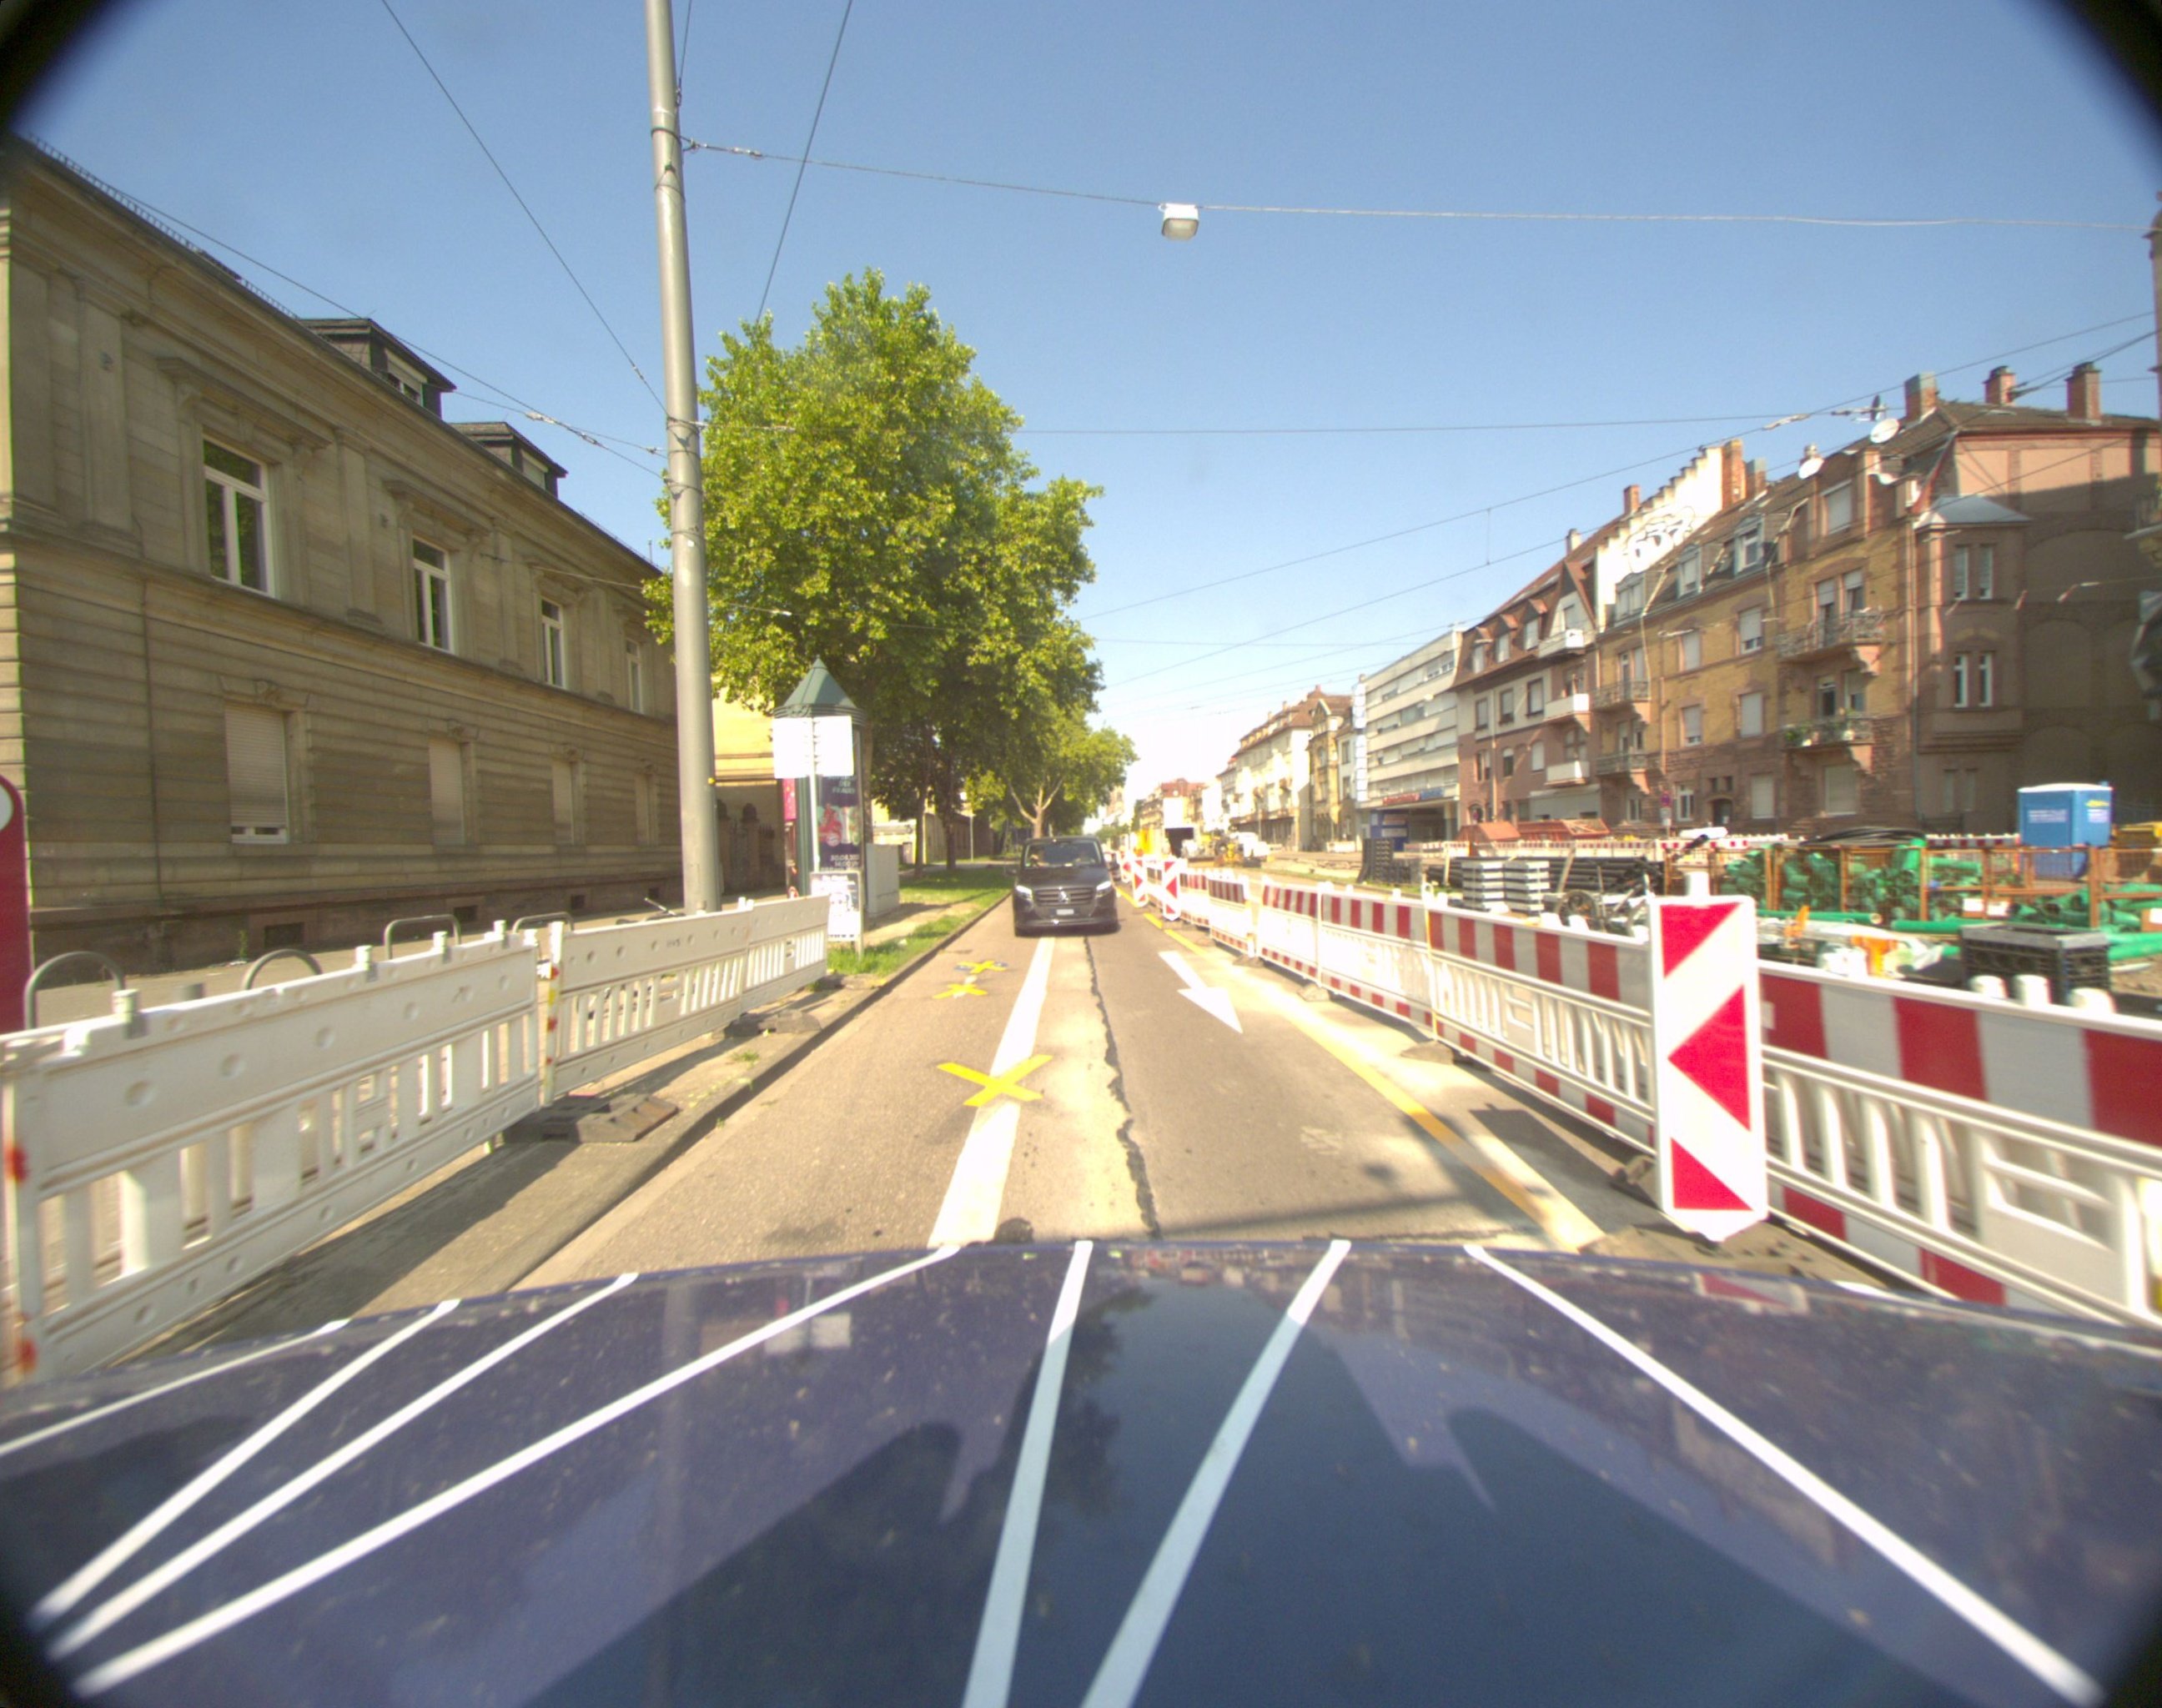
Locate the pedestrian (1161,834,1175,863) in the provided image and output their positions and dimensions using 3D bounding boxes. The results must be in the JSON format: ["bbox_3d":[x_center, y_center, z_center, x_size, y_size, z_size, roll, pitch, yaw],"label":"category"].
[{"bbox_3d":[5.479,-0.343,47.822,0.803,1.787,0.596,0,2,8],"label":"pedestrian"}]

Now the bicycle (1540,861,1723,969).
[{"bbox_3d":[6.669,0.680,9.352,0.564,1.092,1.965,-4,2,-10],"label":"bicycle"}]

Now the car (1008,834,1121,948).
[{"bbox_3d":[-0.292,0.588,15.209,1.853,1.875,4.177,-3,2,0],"label":"car"}]

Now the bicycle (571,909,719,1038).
[{"bbox_3d":[-4.255,1.124,7.552,0.539,1.001,1.570,-1,2,0],"label":"bicycle"}]

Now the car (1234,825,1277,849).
[{"bbox_3d":[16.699,-1.637,73.002,2.367,2.123,7.119,-2,2,-1],"label":"car"}]
